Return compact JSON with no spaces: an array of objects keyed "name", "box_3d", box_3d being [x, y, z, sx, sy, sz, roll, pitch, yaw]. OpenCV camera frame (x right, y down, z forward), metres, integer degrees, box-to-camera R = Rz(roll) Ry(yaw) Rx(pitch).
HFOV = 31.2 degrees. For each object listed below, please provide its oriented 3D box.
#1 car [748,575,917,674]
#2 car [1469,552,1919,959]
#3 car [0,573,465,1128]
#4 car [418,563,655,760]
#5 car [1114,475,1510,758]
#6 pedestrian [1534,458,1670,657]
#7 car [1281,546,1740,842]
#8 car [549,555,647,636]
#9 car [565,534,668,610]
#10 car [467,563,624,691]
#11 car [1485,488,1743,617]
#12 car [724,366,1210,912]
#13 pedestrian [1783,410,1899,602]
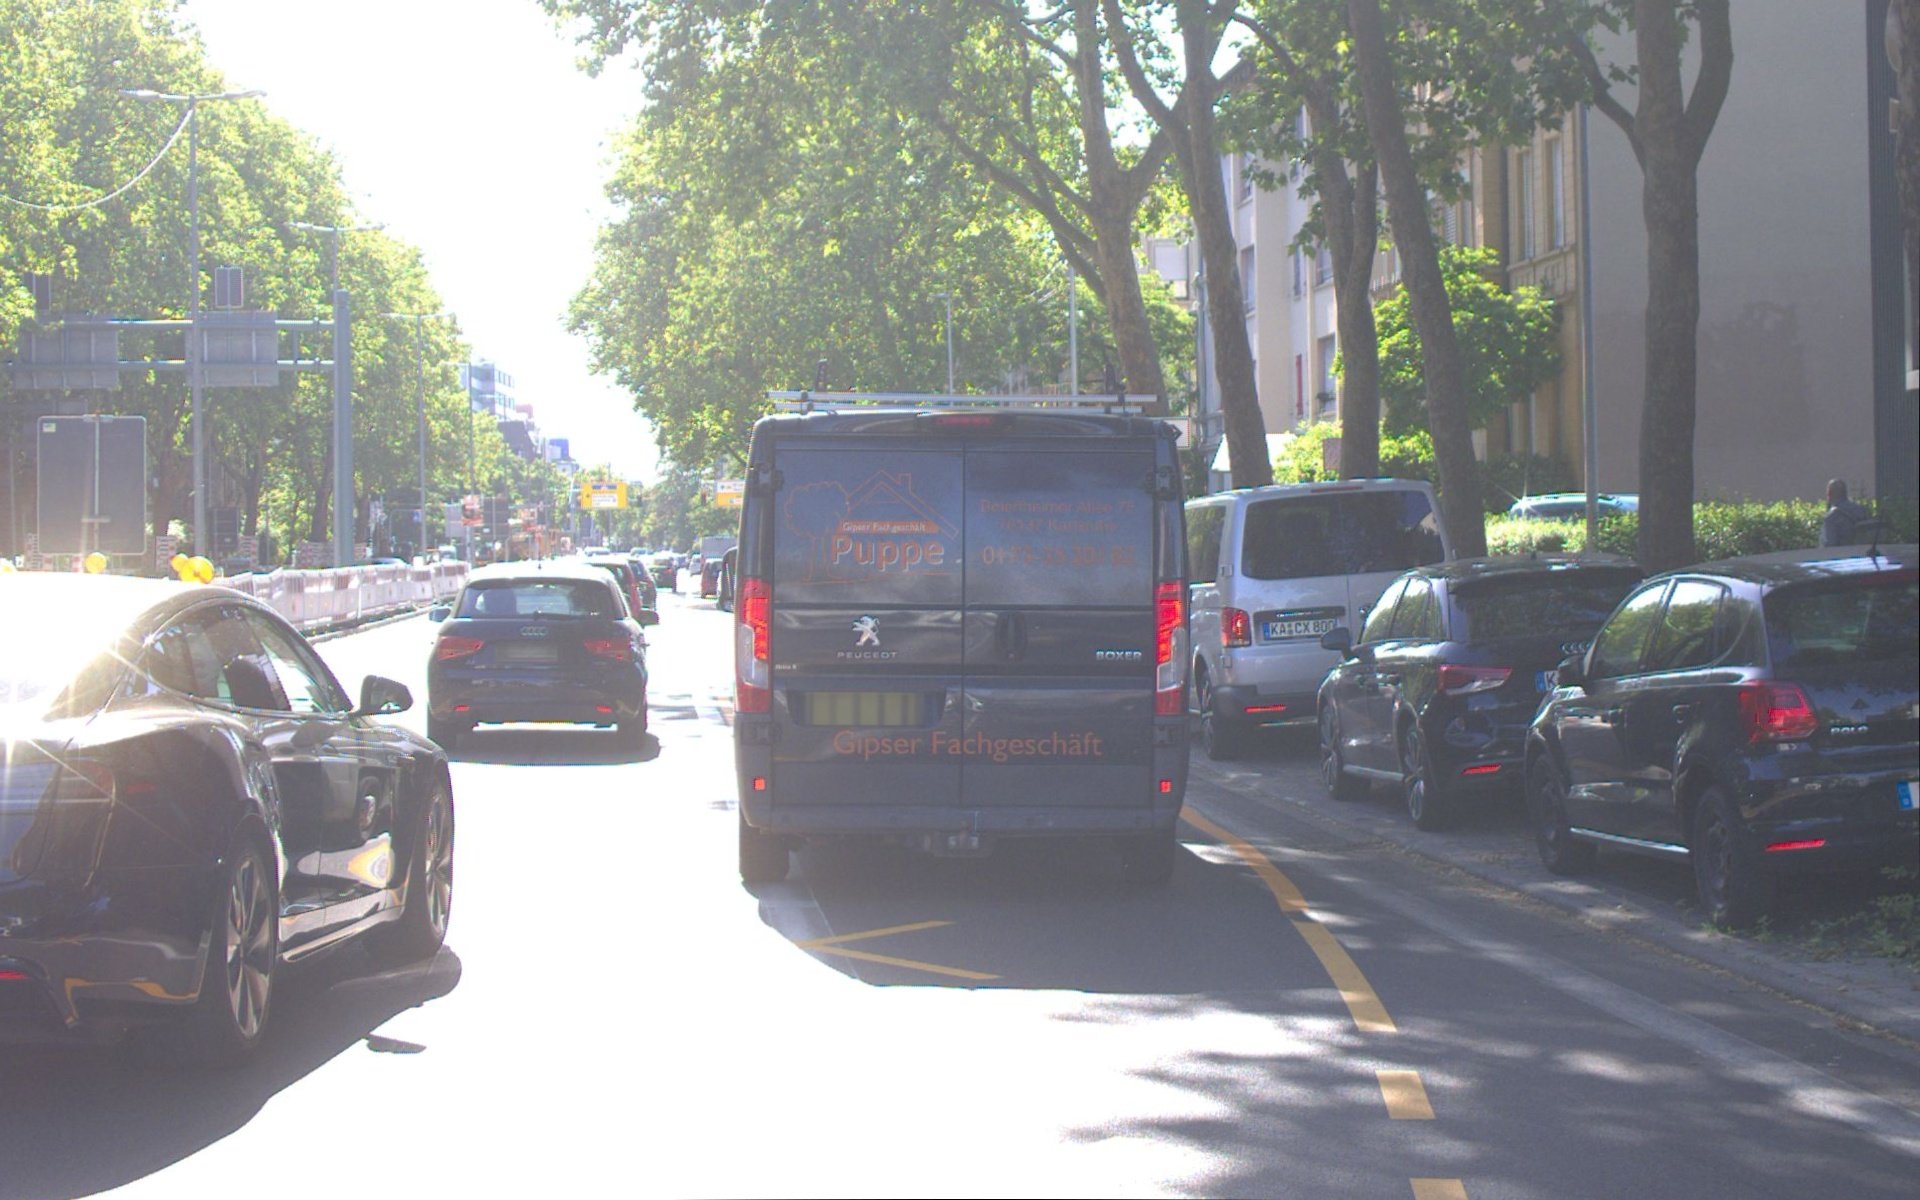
[{"name":"car","box_3d":[-1.777,0.308,46.674,1.993,1.245,4.001,-1,1,-6]},{"name":"car","box_3d":[3.590,0.547,14.946,1.763,1.503,4.252,0,1,-5]},{"name":"car","box_3d":[-2.981,0.638,11.222,1.925,1.407,4.625,-1,1,2]},{"name":"car","box_3d":[-3.399,0.440,27.685,1.746,1.402,4.001,0,1,-7]},{"name":"car","box_3d":[2.577,0.078,26.579,2.025,1.940,5.274,-1,1,-6]},{"name":"pedestrian","box_3d":[5.285,-0.354,28.366,0.727,1.597,1.267,-1,1,-8]},{"name":"car","box_3d":[3.055,0.463,19.910,1.657,1.535,4.129,0,1,-5]},{"name":"car","box_3d":[-5.780,-0.087,55.141,1.421,1.221,3.438,-1,1,-4]},{"name":"car","box_3d":[-7.487,-0.617,75.163,1.993,1.583,4.000,-1,1,-2]},{"name":"car","box_3d":[-4.777,0.284,39.948,1.547,1.420,3.555,0,1,-2]},{"name":"car","box_3d":[9.696,-0.712,51.141,1.704,1.847,3.507,0,1,-38]},{"name":"car","box_3d":[-0.057,0.123,16.788,2.095,2.347,3.933,0,1,-3]},{"name":"pedestrian","box_3d":[7.726,-0.833,30.163,0.705,1.643,0.675,2,3,-8]}]
